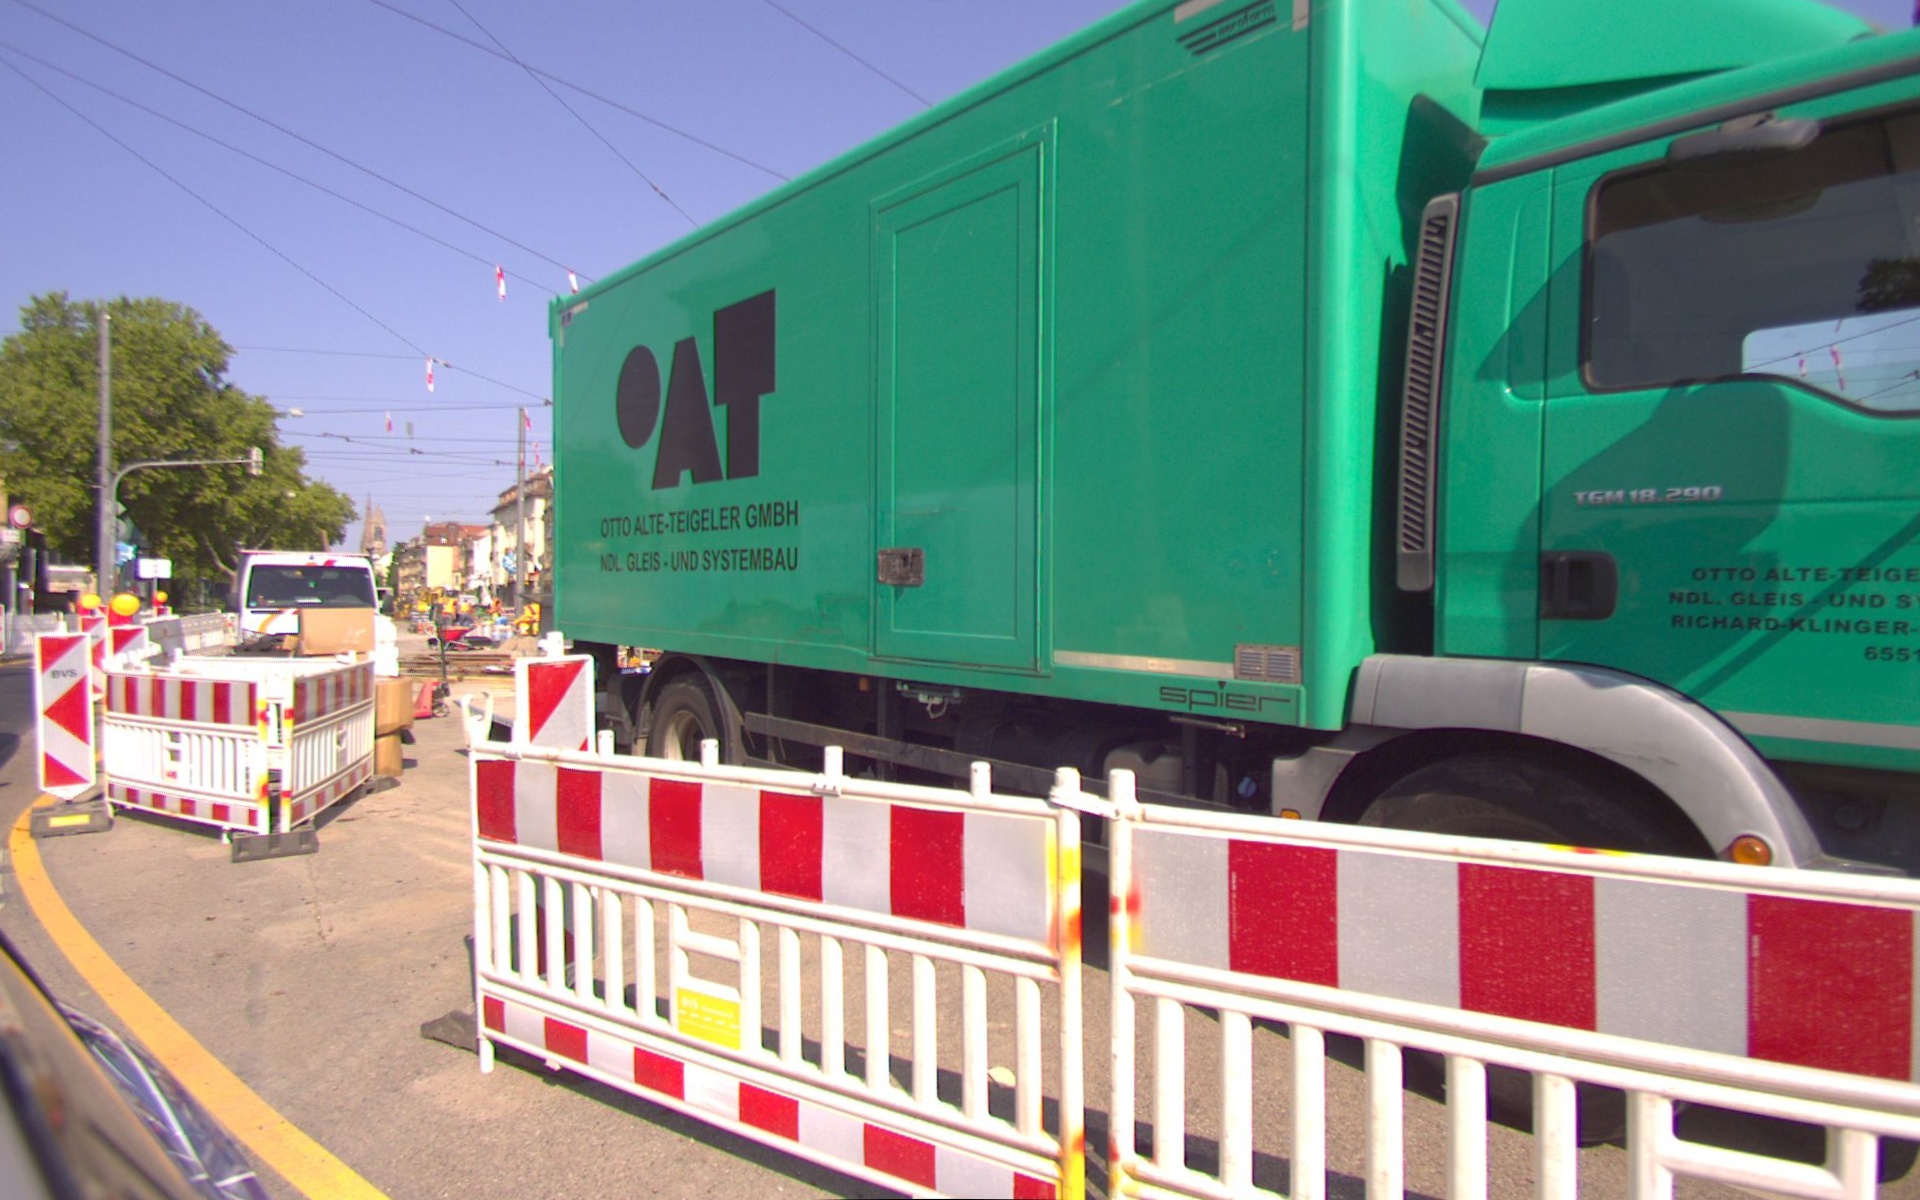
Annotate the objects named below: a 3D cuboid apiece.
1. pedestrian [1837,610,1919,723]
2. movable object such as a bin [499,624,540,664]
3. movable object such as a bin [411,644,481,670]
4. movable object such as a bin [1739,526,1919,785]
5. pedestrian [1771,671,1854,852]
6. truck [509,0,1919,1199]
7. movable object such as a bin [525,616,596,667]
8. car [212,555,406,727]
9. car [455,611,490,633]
[{"bbox_3d":[14.743,1.046,16.248,0.819,1.762,0.670,1,-2,-20],"label":"pedestrian"},{"bbox_3d":[-14.023,1.371,32.183,0.874,1.220,2.219,1,-1,-32],"label":"movable object such as a bin"},{"bbox_3d":[-15.045,1.661,29.647,1.699,0.719,0.718,1,-1,0],"label":"movable object such as a bin"},{"bbox_3d":[13.928,0.646,10.560,3.564,2.980,8.500,0,1,-34],"label":"movable object such as a bin"},{"bbox_3d":[8.041,1.484,9.566,0.556,1.578,0.693,-1,-2,39],"label":"pedestrian"},{"bbox_3d":[0.708,-0.449,5.386,8.421,3.942,2.761,-1,-1,44],"label":"truck"},{"bbox_3d":[-13.145,1.325,33.234,1.578,1.570,3.296,1,-1,-32],"label":"movable object such as a bin"},{"bbox_3d":[-11.729,0.611,17.905,2.179,2.442,7.214,2,-1,-38],"label":"car"},{"bbox_3d":[-51.802,2.289,107.524,2.329,2.151,7.141,1,-1,-34],"label":"car"}]
